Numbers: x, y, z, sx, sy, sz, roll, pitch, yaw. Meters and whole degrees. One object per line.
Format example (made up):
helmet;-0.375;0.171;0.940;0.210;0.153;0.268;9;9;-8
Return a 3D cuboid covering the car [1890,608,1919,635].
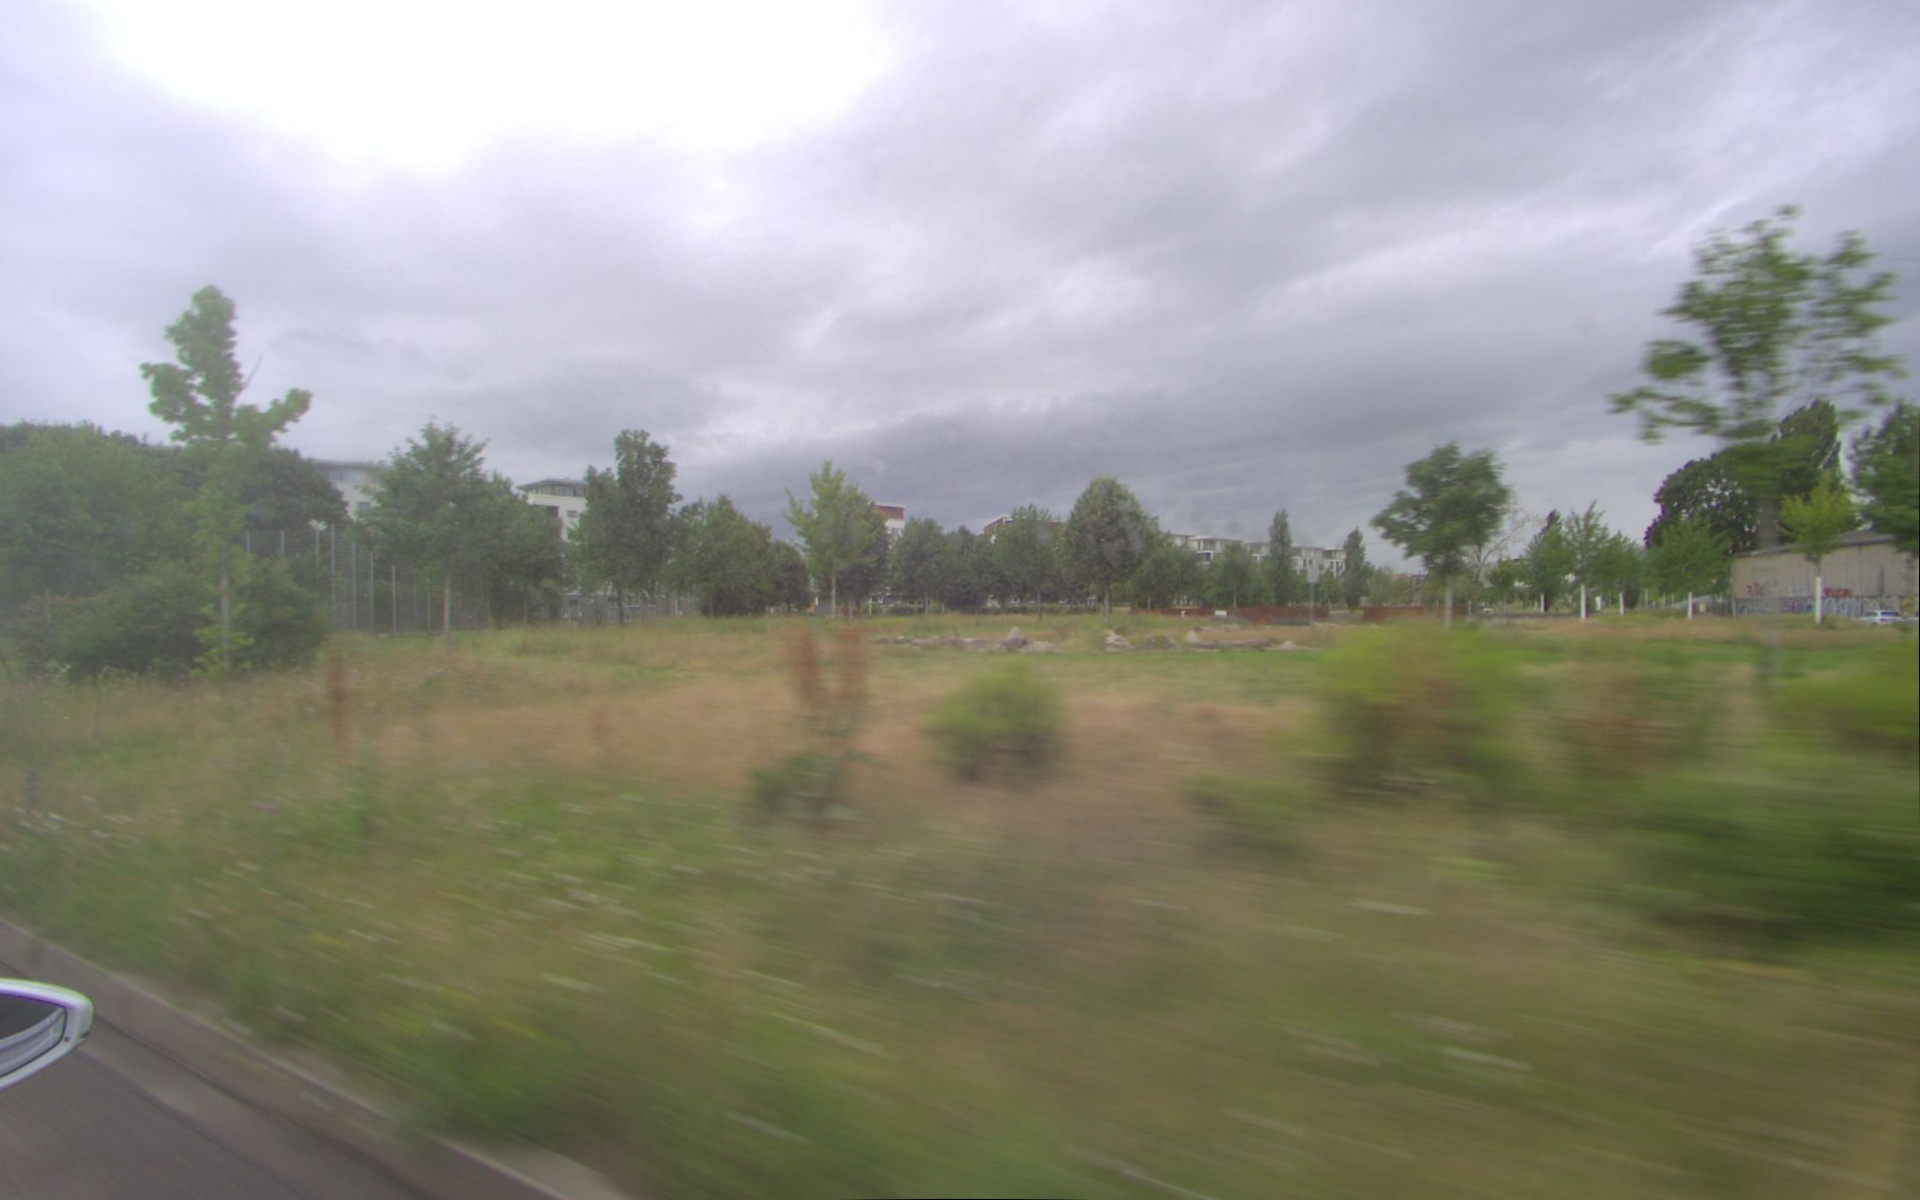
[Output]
car;58.843;1.314;60.402;1.962;1.595;4.587;3;0;14

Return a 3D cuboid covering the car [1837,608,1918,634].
car;60.415;1.350;66.032;1.962;1.595;4.375;3;0;14
